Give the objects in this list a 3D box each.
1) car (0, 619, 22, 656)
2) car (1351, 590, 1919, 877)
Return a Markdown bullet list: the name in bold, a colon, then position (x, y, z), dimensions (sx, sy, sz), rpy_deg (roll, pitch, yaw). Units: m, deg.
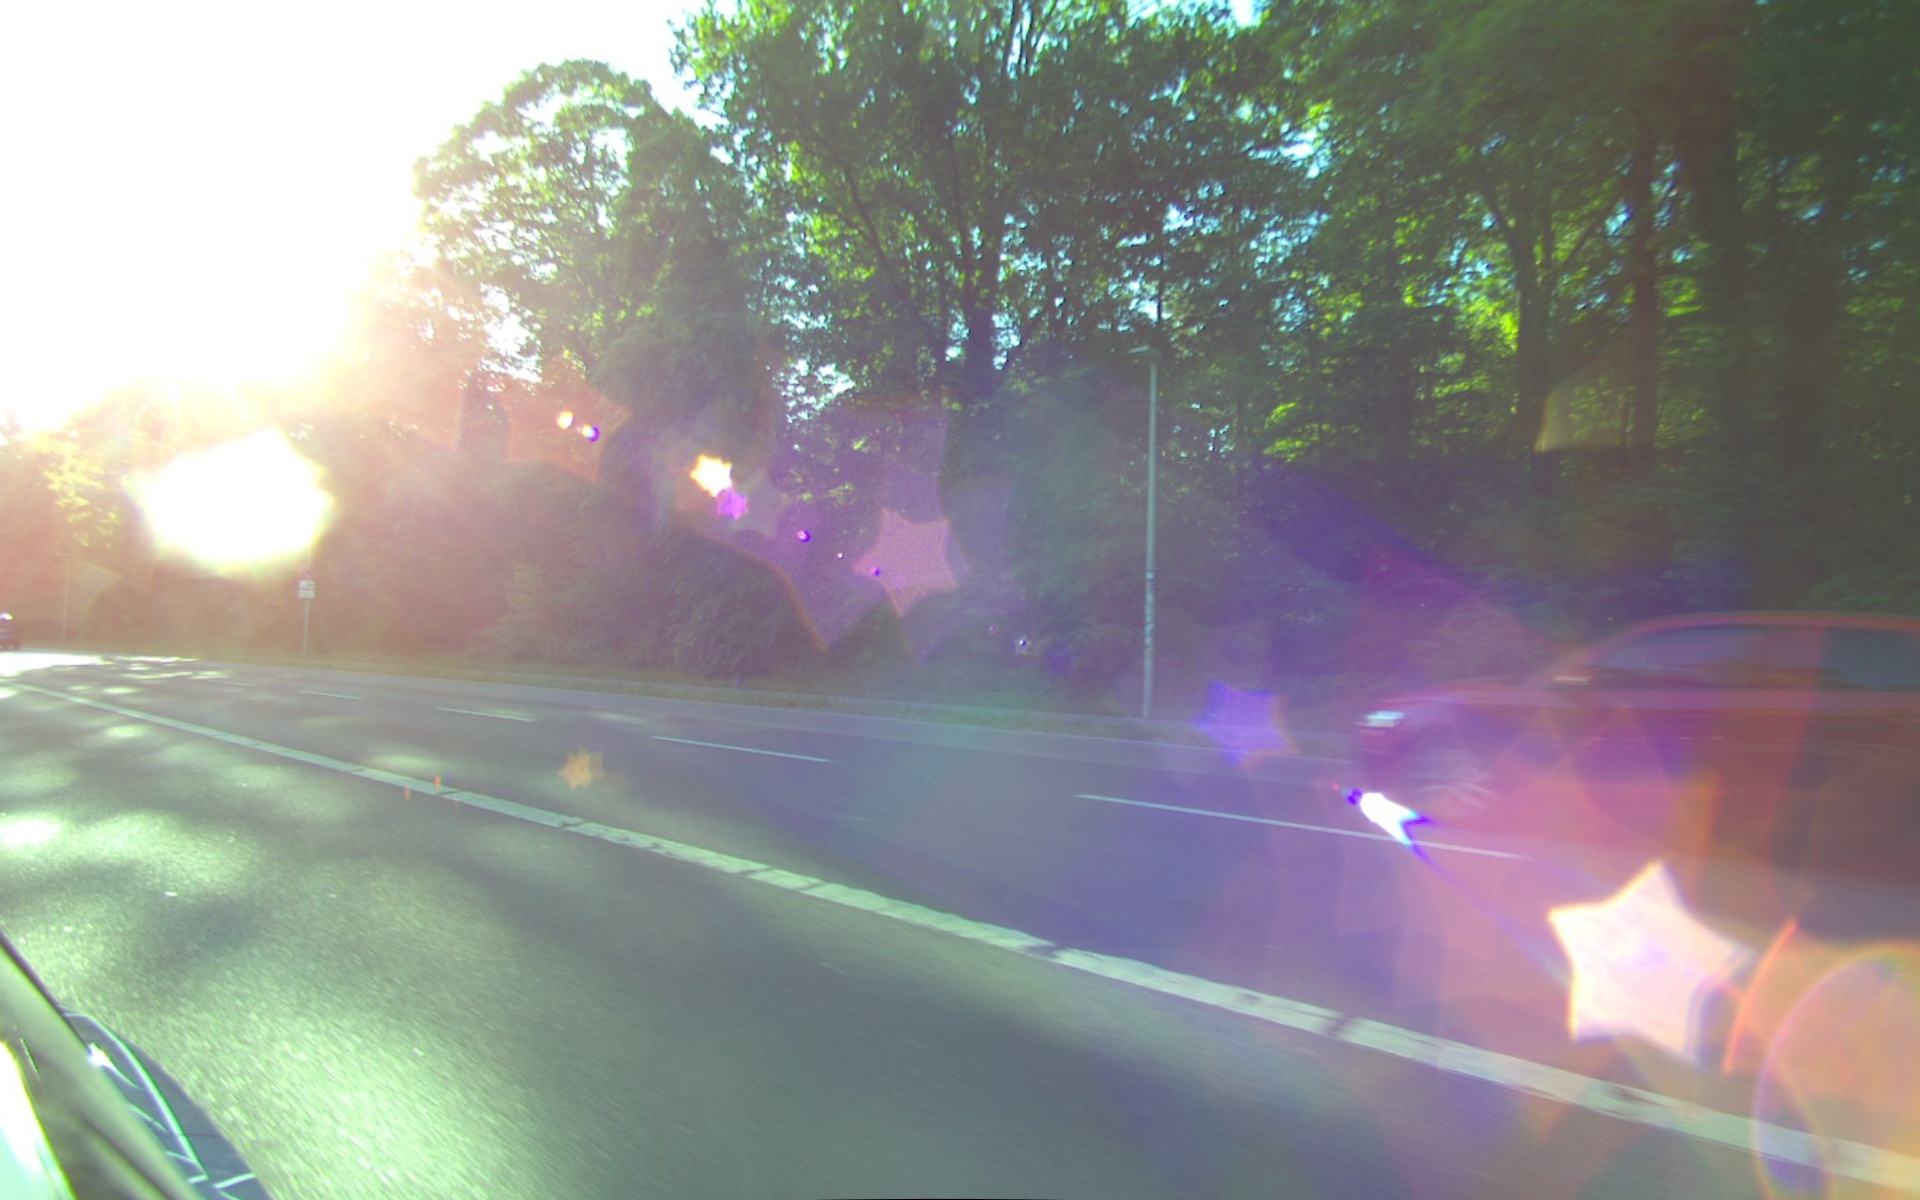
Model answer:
- **car**: position (-45.419, 1.736, 47.046), dimensions (4.512, 1.676, 1.791), rpy_deg (-1, -2, 36)
- **car**: position (4.785, 0.695, 6.199), dimensions (4.128, 1.434, 1.692), rpy_deg (-2, -2, 41)
